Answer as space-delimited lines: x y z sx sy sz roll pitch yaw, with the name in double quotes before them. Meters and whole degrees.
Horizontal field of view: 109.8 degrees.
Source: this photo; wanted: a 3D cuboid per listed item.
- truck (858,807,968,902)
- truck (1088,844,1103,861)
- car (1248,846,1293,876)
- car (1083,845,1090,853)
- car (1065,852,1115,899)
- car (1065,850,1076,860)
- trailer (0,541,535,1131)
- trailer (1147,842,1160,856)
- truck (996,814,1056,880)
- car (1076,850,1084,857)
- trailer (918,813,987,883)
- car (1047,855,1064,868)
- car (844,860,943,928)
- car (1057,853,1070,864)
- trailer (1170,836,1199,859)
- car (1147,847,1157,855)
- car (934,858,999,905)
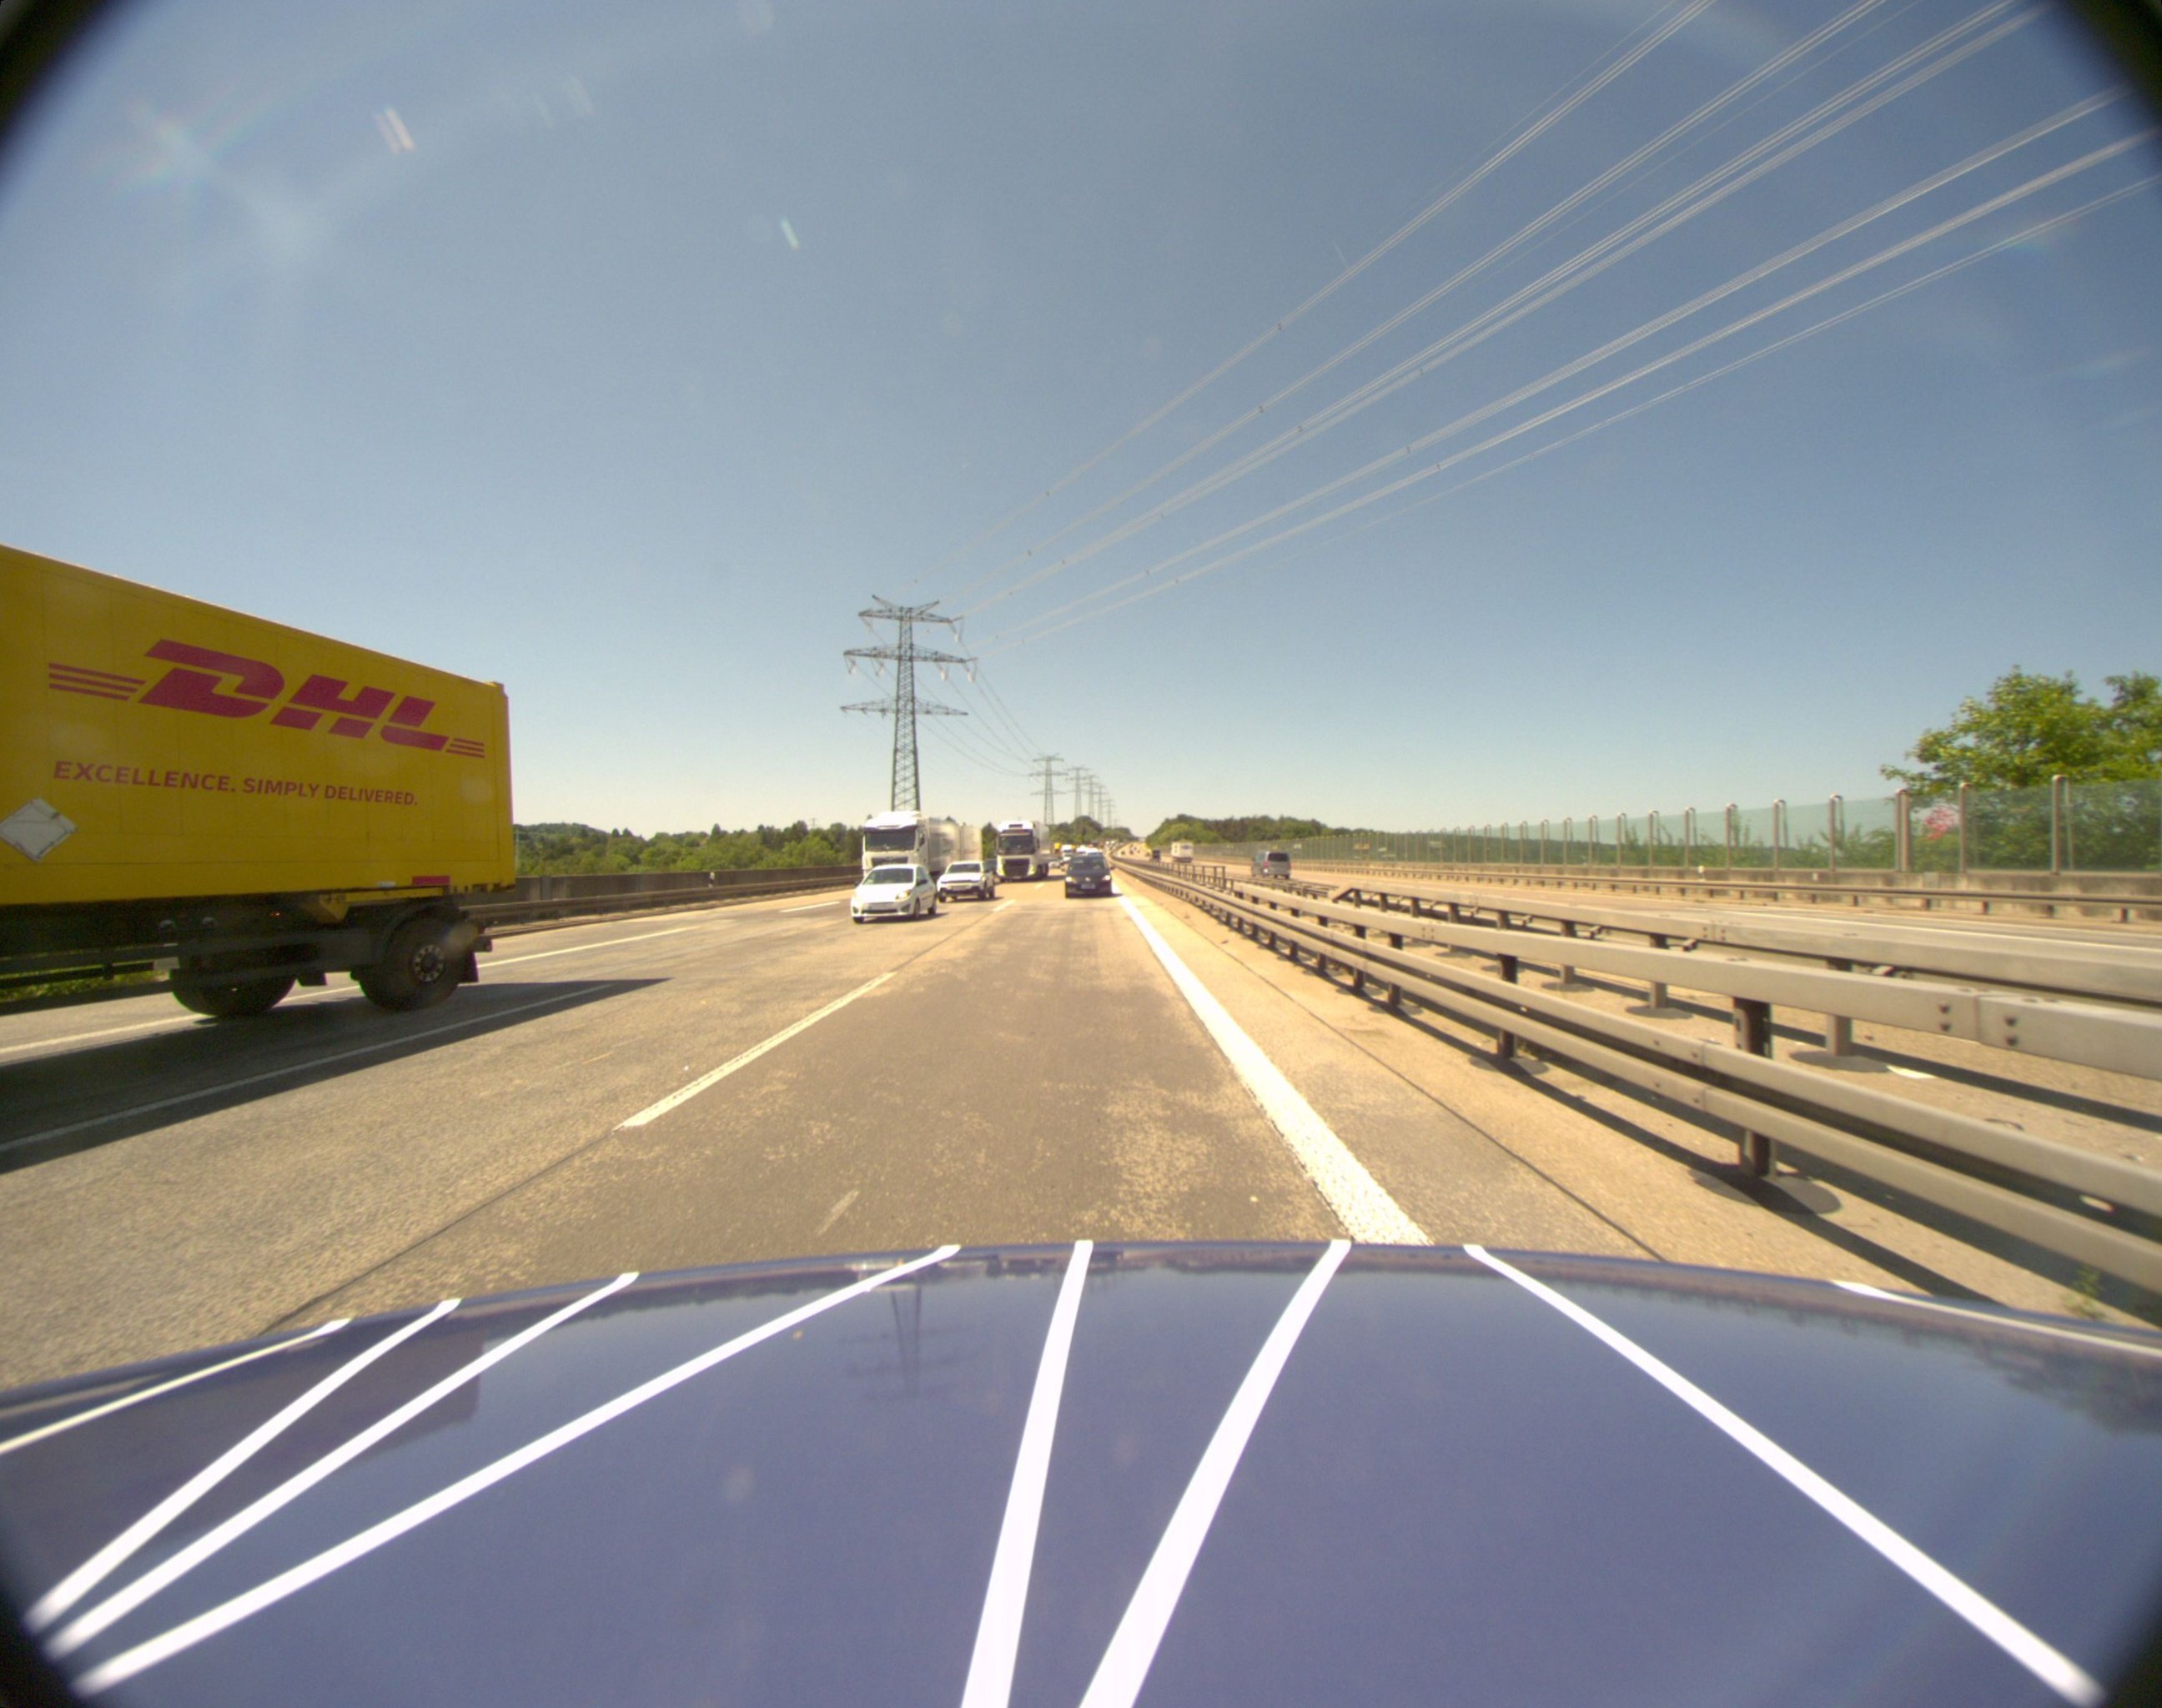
"truck" -7.967 -0.026 37.949 2.695 3.908 11.296 -2 1 1
"truck" 2.485 -0.276 129.126 2.309 2.789 5.109 -2 1 2
"car" 13.364 0.456 53.822 1.998 1.930 4.896 -2 1 1
"car" 1.524 -1.409 213.435 1.998 2.002 3.999 -2 1 1
"car" 0.372 0.783 29.432 1.748 1.569 3.999 -2 1 2
"car" -1.892 0.216 135.932 1.821 1.569 3.999 -2 1 1
"trailer" -8.874 -0.090 5.523 2.772 4.093 9.377 -2 0 1
"trailer" 15.275 -1.062 159.781 2.171 2.761 5.375 2 1 1
"truck" -3.662 -0.510 54.641 2.717 4.015 14.255 -2 0 2
"car" -0.280 -0.048 178.707 1.821 1.569 3.999 -2 1 1
"trailer" -7.855 -0.364 47.505 2.752 3.918 7.773 -2 1 1
"car" -3.268 0.961 98.007 1.821 1.569 3.999 -2 1 1
"car" -4.954 0.994 20.546 1.659 1.502 3.825 -2 1 0
"car" -2.614 0.644 114.054 1.821 1.569 3.999 -2 1 1
"trailer" 20.212 -1.268 149.673 3.999 4.210 14.040 0 0 1
"car" 15.325 -0.747 164.604 1.875 1.616 4.628 -2 1 1
"car" -4.374 1.010 29.495 1.776 1.521 3.851 -2 1 2
